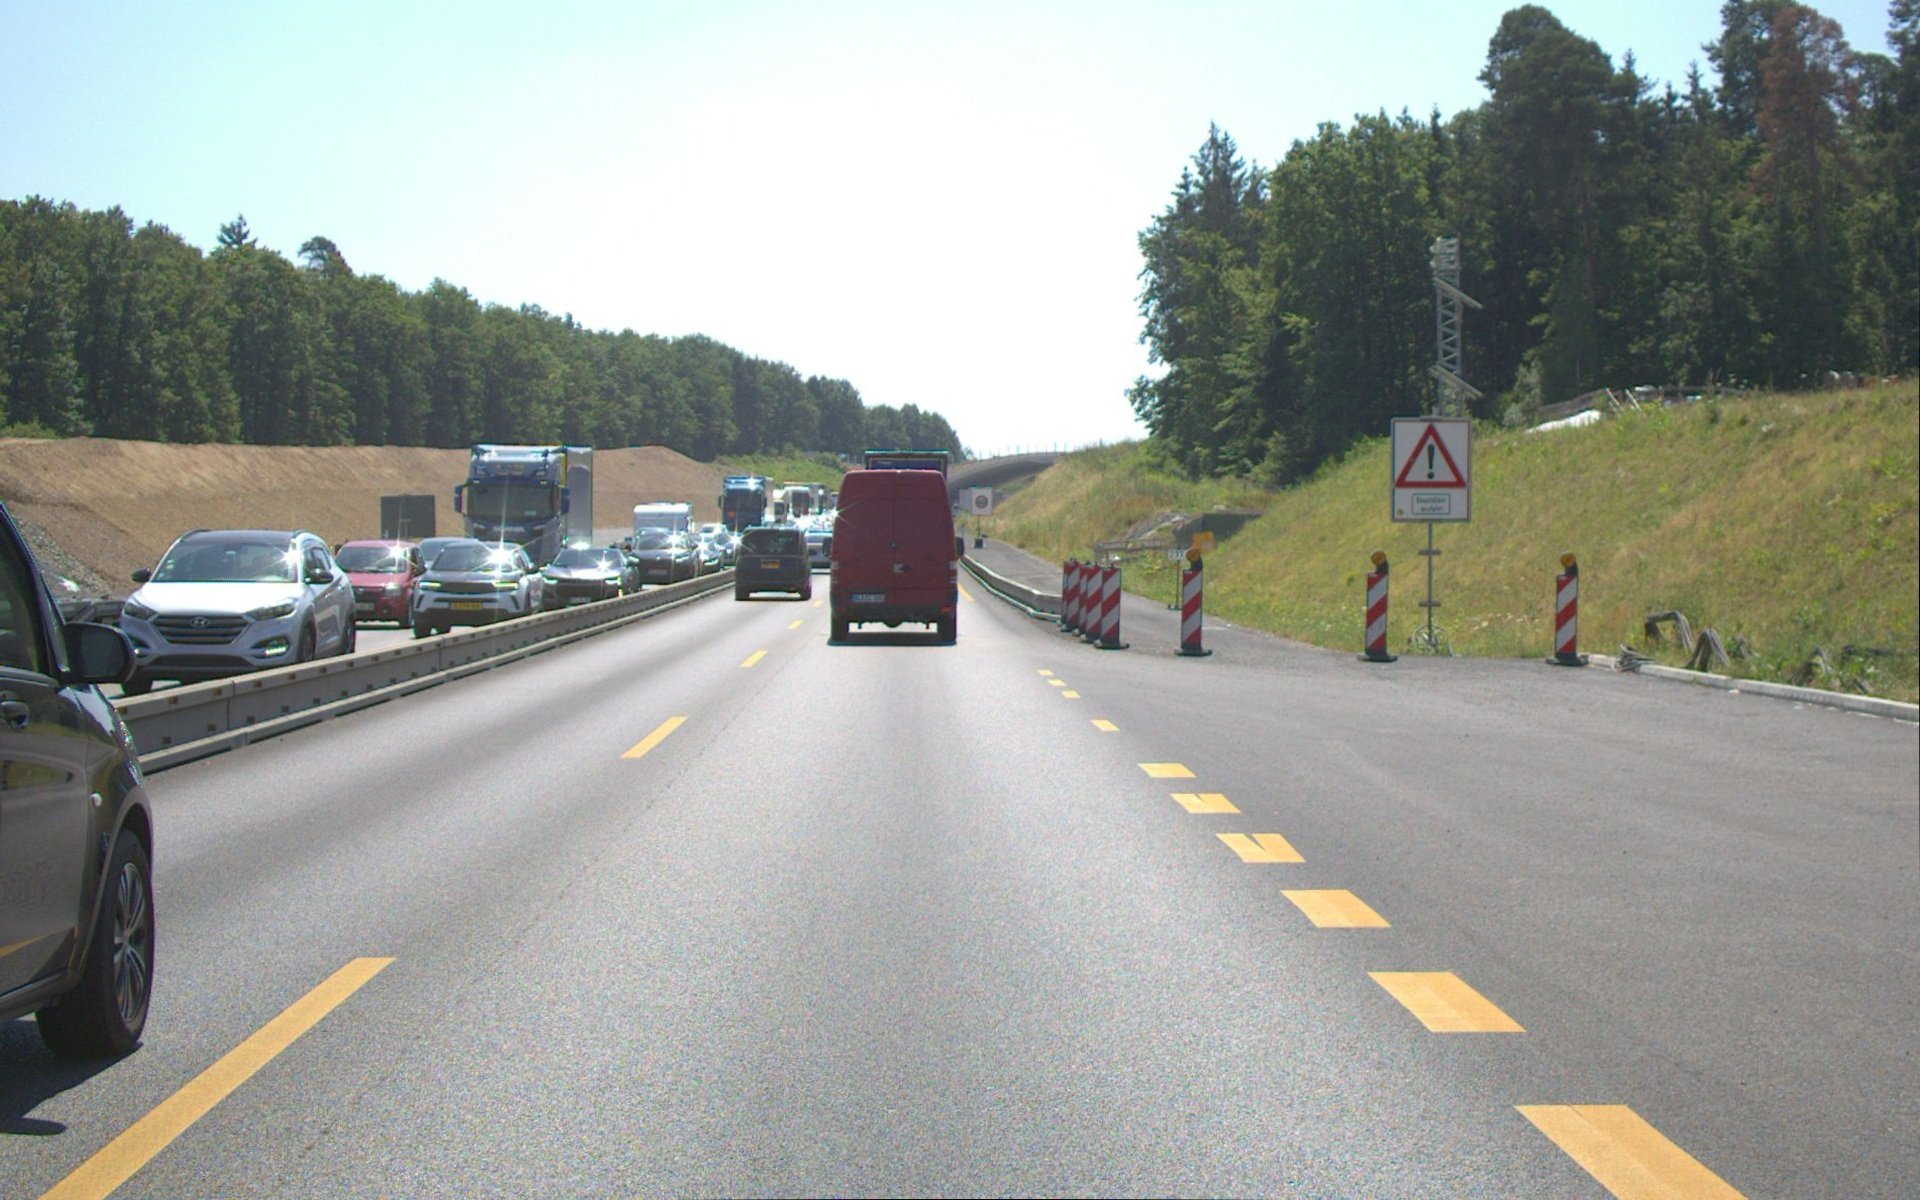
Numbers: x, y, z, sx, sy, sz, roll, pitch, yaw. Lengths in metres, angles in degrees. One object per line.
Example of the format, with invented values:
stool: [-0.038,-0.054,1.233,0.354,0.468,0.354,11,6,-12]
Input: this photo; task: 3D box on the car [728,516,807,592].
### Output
car: [-4.777,-1.145,85.893,1.751,1.818,4.783,1,1,-1]

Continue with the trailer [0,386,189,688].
trailer: [-10.475,-0.632,33.760,2.346,2.922,15.270,1,0,0]

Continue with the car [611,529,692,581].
car: [-8.496,-1.226,94.895,1.841,1.323,3.942,1,0,0]

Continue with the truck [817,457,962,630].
truck: [-1.101,-0.847,54.696,2.153,2.581,5.333,1,0,-1]

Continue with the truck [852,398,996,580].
truck: [-1.244,-3.509,115.374,4.400,5.477,16.603,1,0,-1]

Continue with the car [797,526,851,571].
car: [-4.937,-1.862,125.343,1.831,1.517,3.961,1,0,-1]

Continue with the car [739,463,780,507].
car: [-12.296,-7.049,211.157,2.385,2.571,4.000,1,0,-2]

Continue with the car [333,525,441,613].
car: [-9.938,-0.523,59.762,1.376,1.457,3.152,1,0,-1]

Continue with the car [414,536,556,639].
car: [-7.547,-0.183,54.928,1.625,1.552,4.068,1,0,1]

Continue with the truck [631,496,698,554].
truck: [-12.660,-3.201,147.732,2.400,2.350,5.227,1,0,0]

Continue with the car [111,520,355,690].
car: [-7.467,0.053,35.691,1.724,1.625,4.391,1,0,-2]

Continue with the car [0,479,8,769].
car: [-7.191,0.138,20.216,1.825,1.920,5.264,1,0,-2]

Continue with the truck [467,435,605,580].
truck: [-11.412,-2.397,93.271,2.509,3.605,9.641,1,0,0]

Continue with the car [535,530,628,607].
car: [-8.106,-0.660,73.835,1.683,1.590,3.224,1,0,-1]

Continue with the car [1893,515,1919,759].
car: [7.627,0.329,21.704,1.774,1.671,4.856,1,1,-4]

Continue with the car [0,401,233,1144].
car: [-3.315,0.417,8.609,1.874,1.845,5.479,1,0,-1]

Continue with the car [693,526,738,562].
car: [-9.498,-2.171,133.677,1.464,1.323,3.371,1,0,0]
